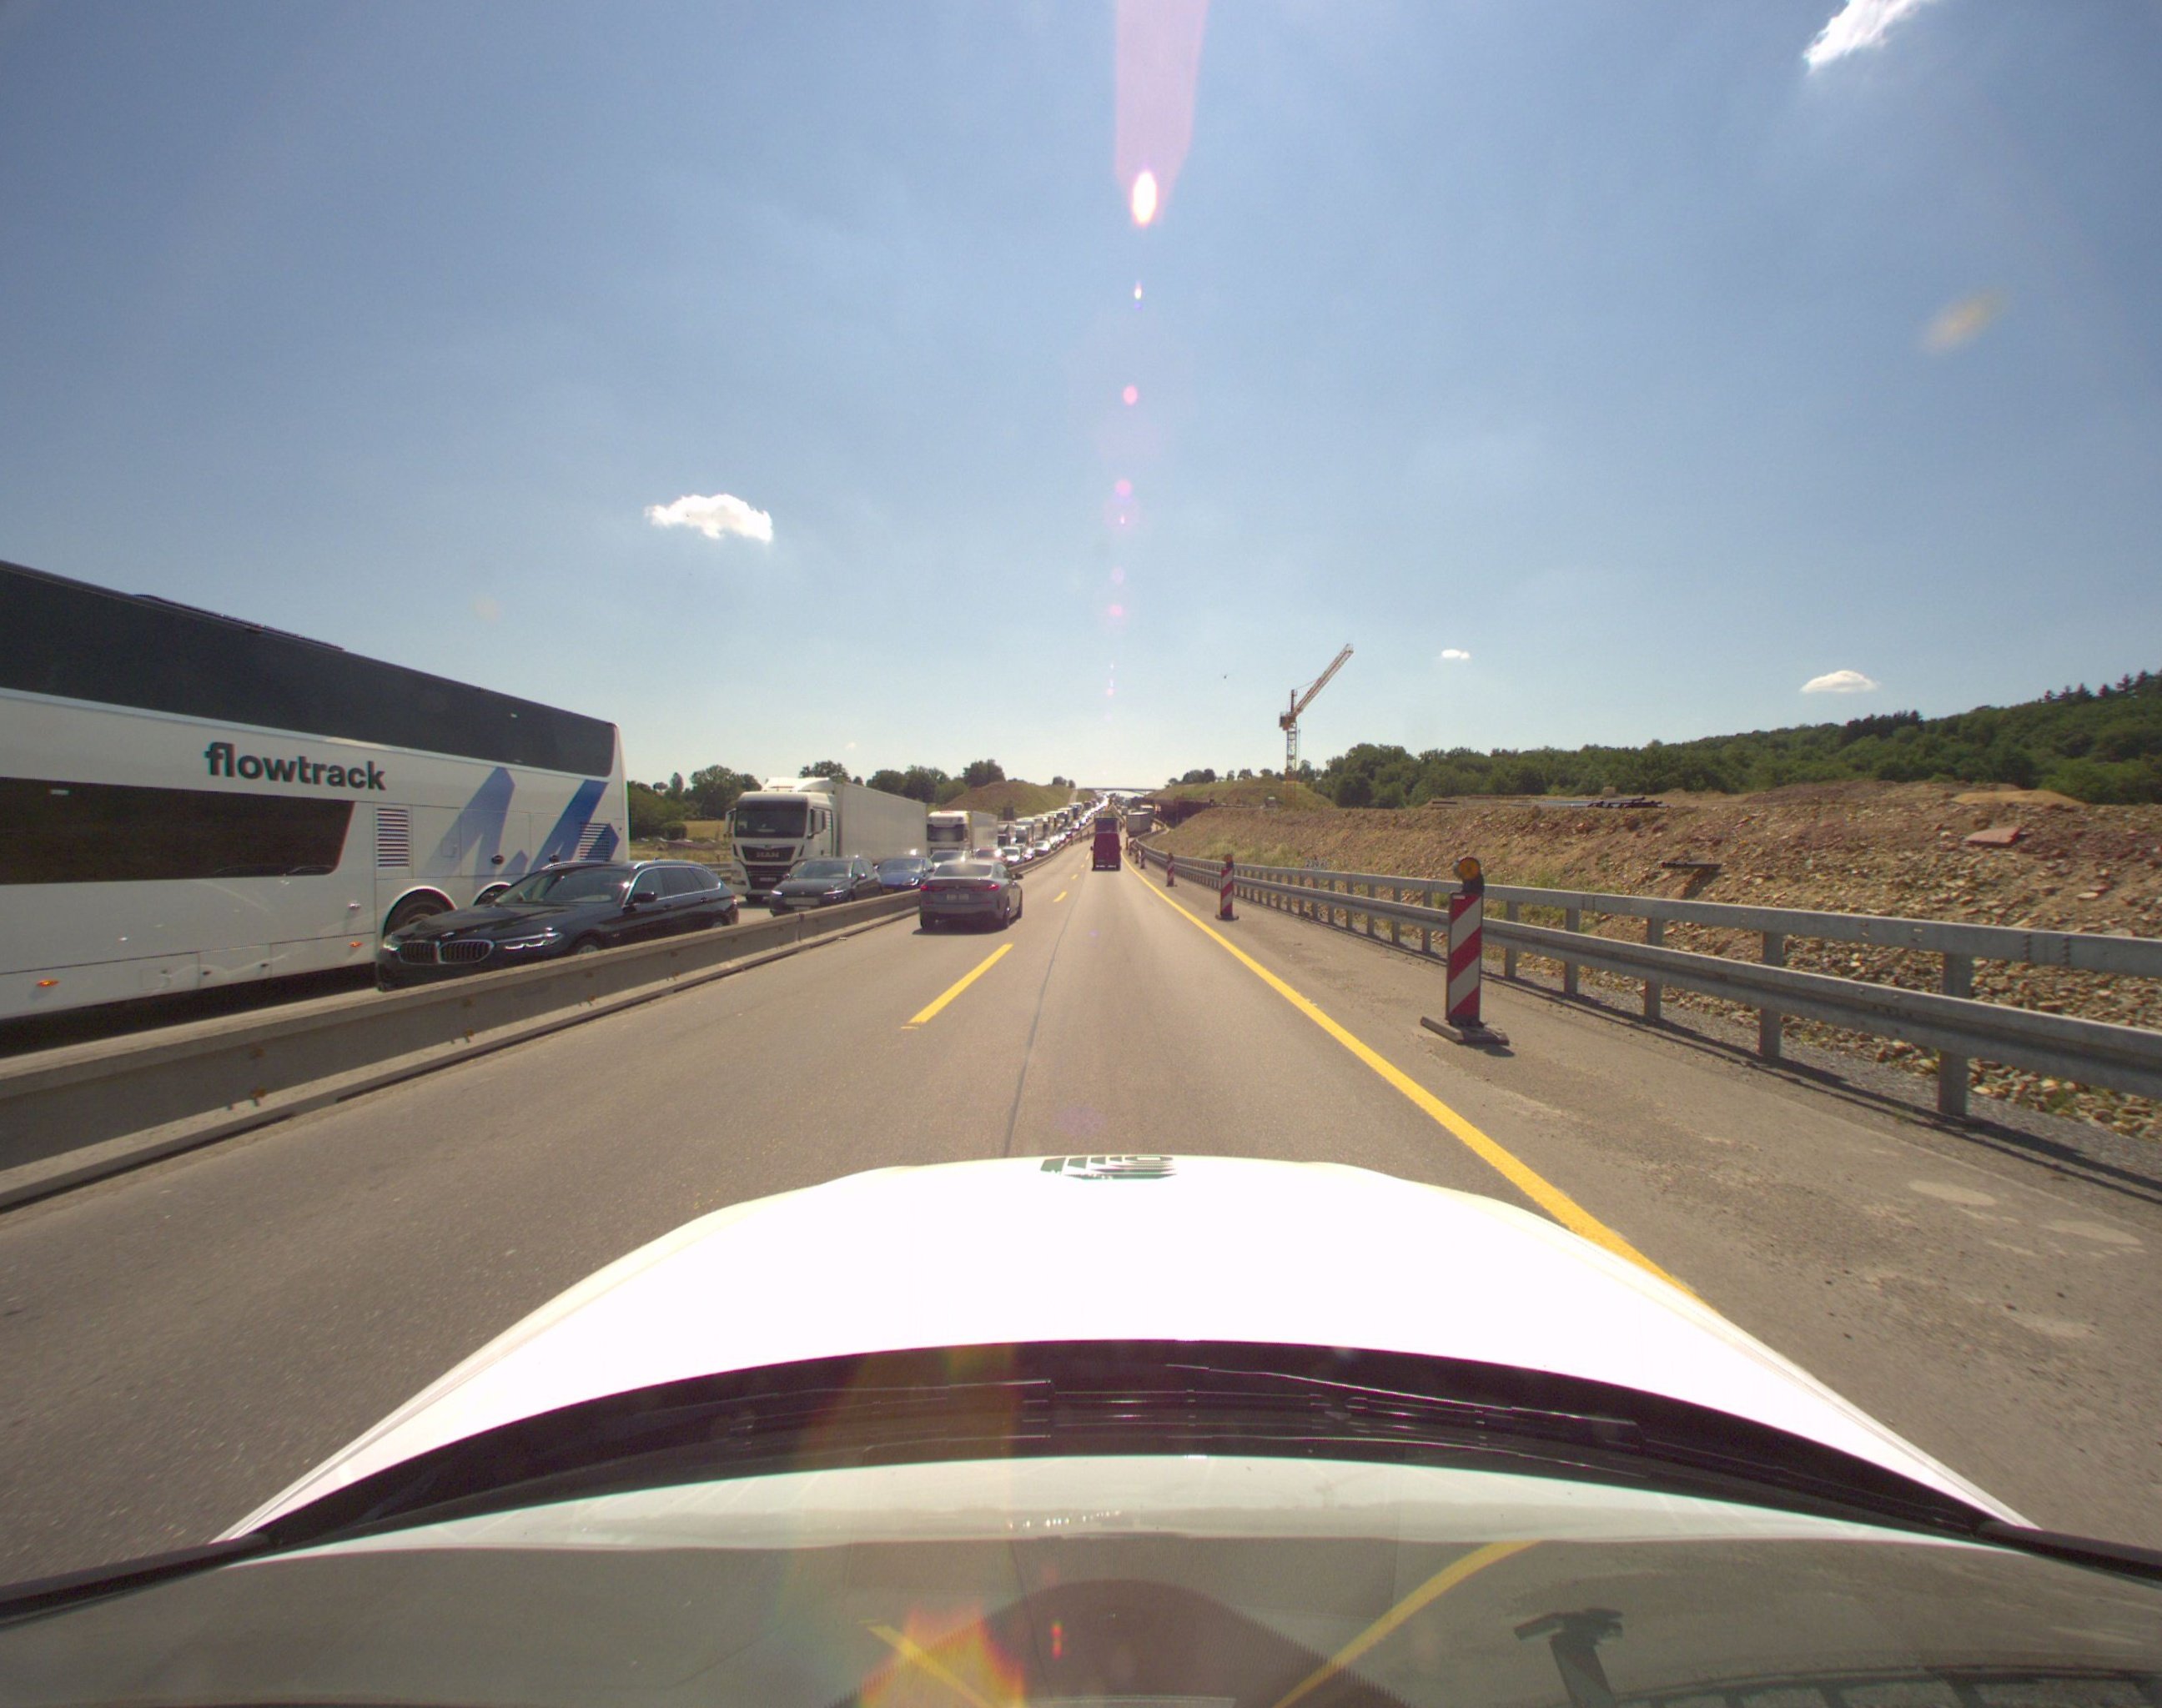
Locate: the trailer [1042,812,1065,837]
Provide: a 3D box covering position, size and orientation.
[{"bbox_3d":[-5.089,-5.603,154.475,3.029,4.551,12.143,0,2,4],"label":"trailer"}]

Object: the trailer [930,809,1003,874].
[{"bbox_3d":[-8.046,-0.914,59.571,2.975,4.208,13.951,0,1,2],"label":"trailer"}]

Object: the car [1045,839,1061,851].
[{"bbox_3d":[-3.896,-1.281,113.418,1.896,1.376,4.548,-3,2,1],"label":"car"}]

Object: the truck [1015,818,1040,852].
[{"bbox_3d":[-6.904,-2.448,105.377,2.541,4.230,6.534,-1,2,2],"label":"truck"}]

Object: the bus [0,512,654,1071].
[{"bbox_3d":[-9.570,-0.477,8.074,2.729,4.264,14.480,-1,0,1],"label":"bus"}]

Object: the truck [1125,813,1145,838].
[{"bbox_3d":[9.489,-5.025,143.107,3.022,4.100,7.099,-1,0,7],"label":"truck"}]

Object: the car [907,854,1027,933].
[{"bbox_3d":[-2.355,0.763,18.053,1.845,1.452,4.744,0,1,2],"label":"car"}]

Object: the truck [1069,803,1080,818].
[{"bbox_3d":[-1.861,-11.816,223.609,2.879,3.838,8.001,-1,1,0],"label":"truck"}]

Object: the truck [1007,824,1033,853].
[{"bbox_3d":[-6.918,-1.801,93.372,2.426,3.147,7.024,-1,2,0],"label":"truck"}]

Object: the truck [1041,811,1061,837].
[{"bbox_3d":[-5.452,-5.463,148.641,3.038,4.480,5.988,0,2,4],"label":"truck"}]

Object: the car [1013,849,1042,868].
[{"bbox_3d":[-4.402,0.361,67.596,1.986,1.557,4.341,-1,0,2],"label":"car"}]

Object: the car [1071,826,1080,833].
[{"bbox_3d":[-1.139,-4.936,163.662,1.740,1.409,4.002,0,2,2],"label":"car"}]

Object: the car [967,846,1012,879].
[{"bbox_3d":[-5.160,0.451,46.668,1.987,1.631,4.759,1,2,0],"label":"car"}]

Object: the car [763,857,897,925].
[{"bbox_3d":[-6.080,0.833,20.335,1.826,1.423,4.683,-1,0,1],"label":"car"}]

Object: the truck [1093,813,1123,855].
[{"bbox_3d":[3.128,-2.404,96.551,3.012,4.692,6.929,-2,2,-1],"label":"truck"}]

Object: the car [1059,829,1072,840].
[{"bbox_3d":[-2.629,-3.390,139.707,1.987,1.782,4.001,-1,2,0],"label":"car"}]

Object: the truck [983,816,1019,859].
[{"bbox_3d":[-7.575,-1.573,78.017,2.516,3.855,8.673,0,1,1],"label":"truck"}]

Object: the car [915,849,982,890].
[{"bbox_3d":[-5.640,0.610,35.273,1.987,1.620,4.882,-1,0,1],"label":"car"}]

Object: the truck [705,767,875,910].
[{"bbox_3d":[-9.423,-0.515,27.326,3.086,4.197,6.705,0,1,1],"label":"truck"}]

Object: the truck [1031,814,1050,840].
[{"bbox_3d":[-6.378,-4.210,129.237,2.773,3.869,5.461,-1,0,0],"label":"truck"}]

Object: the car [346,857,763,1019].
[{"bbox_3d":[-6.070,0.820,10.395,1.911,1.423,5.092,1,1,1],"label":"car"}]

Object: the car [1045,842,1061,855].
[{"bbox_3d":[-3.525,-0.671,102.755,1.820,1.535,4.548,-1,0,1],"label":"car"}]

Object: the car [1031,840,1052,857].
[{"bbox_3d":[-4.169,-0.577,86.513,1.820,1.651,4.547,-2,0,1],"label":"car"}]

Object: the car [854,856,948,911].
[{"bbox_3d":[-5.667,0.878,26.303,1.806,1.437,5.122,1,1,1],"label":"car"}]

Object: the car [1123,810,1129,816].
[{"bbox_3d":[14.024,-12.671,254.538,1.945,1.641,4.269,-1,0,1],"label":"car"}]

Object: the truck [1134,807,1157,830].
[{"bbox_3d":[15.152,-8.198,192.065,5.137,4.996,13.893,-3,1,4],"label":"truck"}]

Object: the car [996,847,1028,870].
[{"bbox_3d":[-4.834,0.302,57.448,1.820,1.574,4.001,-1,0,1],"label":"car"}]

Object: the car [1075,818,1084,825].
[{"bbox_3d":[-0.398,-7.529,187.615,1.945,1.530,4.269,0,2,1],"label":"car"}]

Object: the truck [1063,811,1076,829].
[{"bbox_3d":[-2.436,-7.197,173.045,2.675,3.838,7.385,-1,1,0],"label":"truck"}]

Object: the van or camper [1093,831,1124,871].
[{"bbox_3d":[1.913,-0.293,57.963,2.023,2.744,4.515,0,2,0],"label":"van or camper"}]

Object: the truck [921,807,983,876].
[{"bbox_3d":[-8.212,-0.818,52.585,2.967,4.184,5.875,0,1,0],"label":"truck"}]

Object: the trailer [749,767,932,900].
[{"bbox_3d":[-9.243,-0.794,33.987,3.129,4.383,14.082,0,1,1],"label":"trailer"}]
